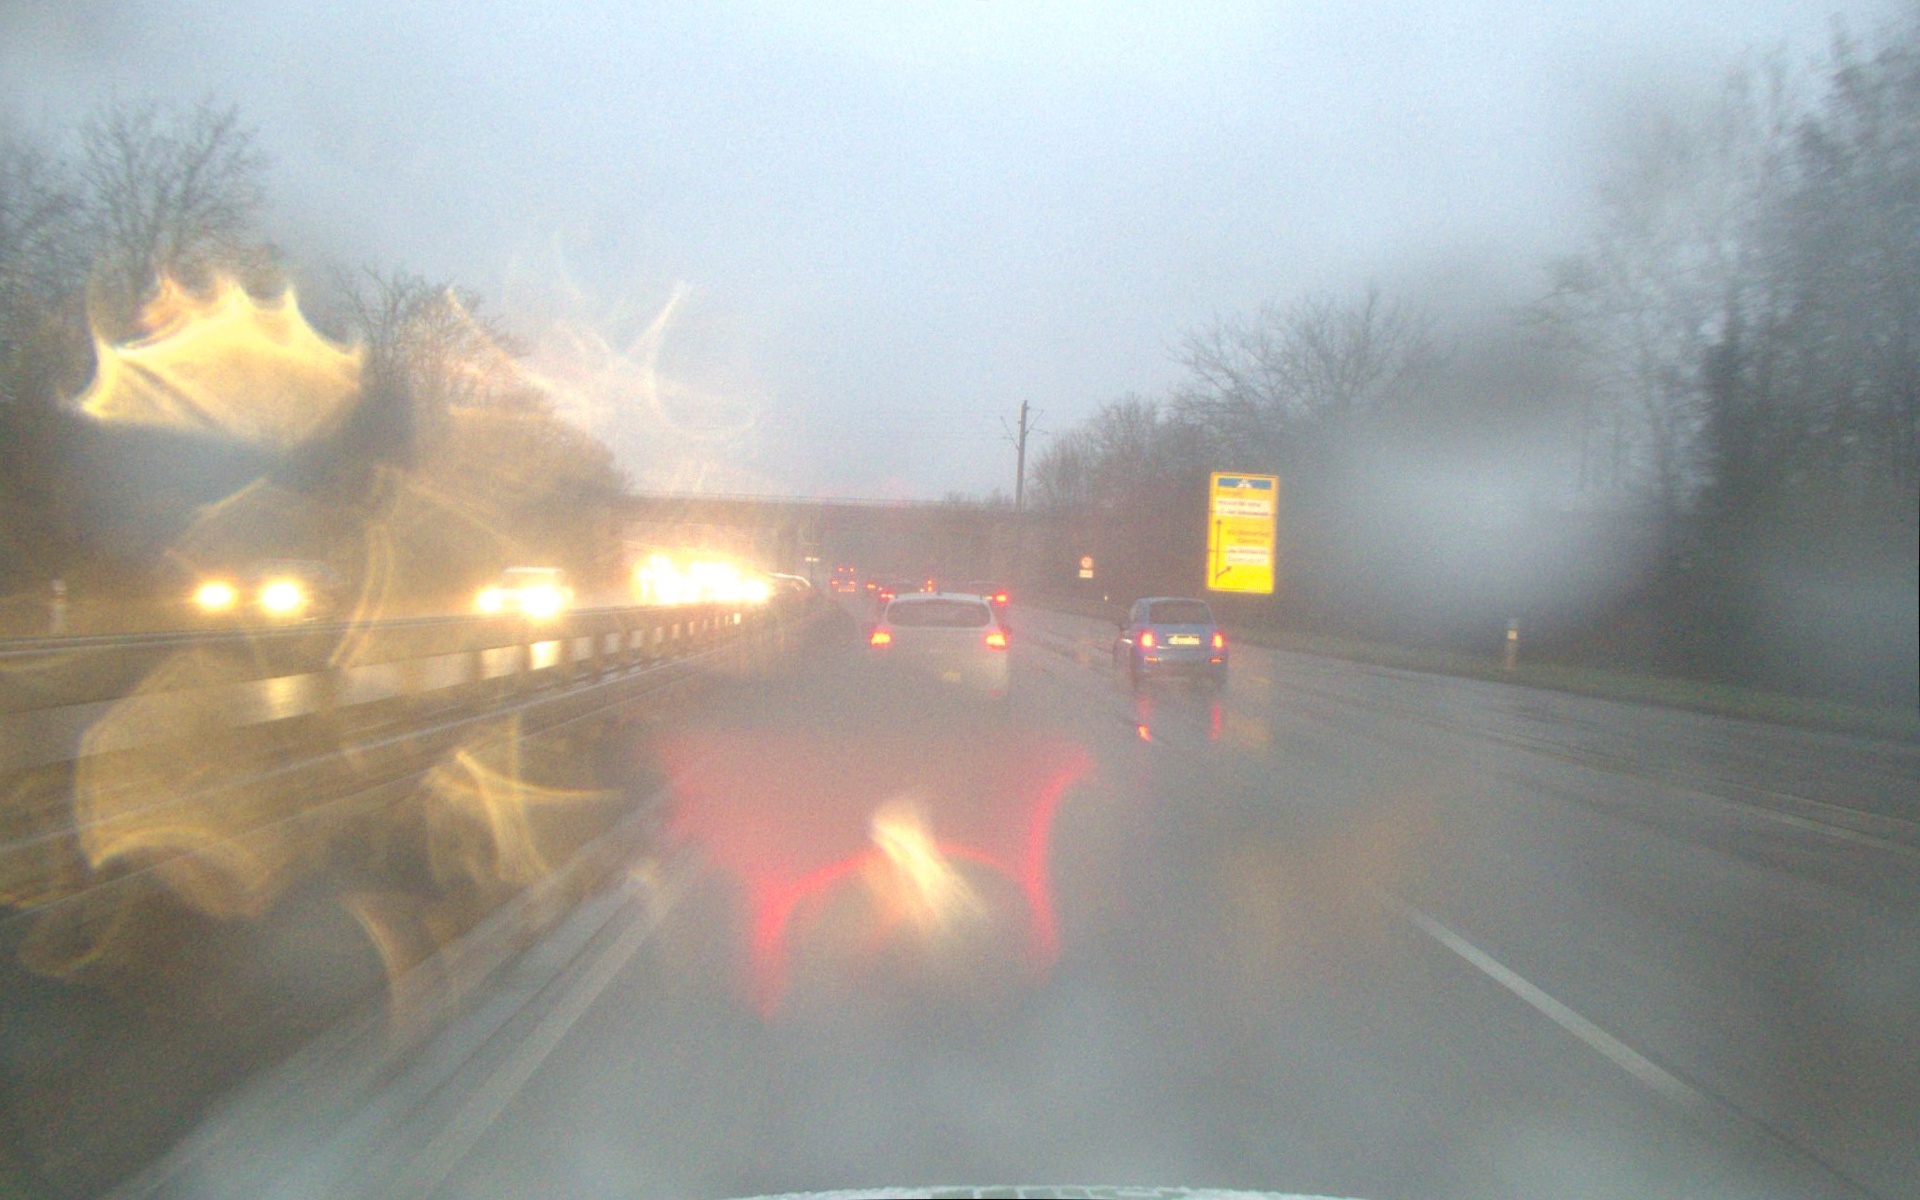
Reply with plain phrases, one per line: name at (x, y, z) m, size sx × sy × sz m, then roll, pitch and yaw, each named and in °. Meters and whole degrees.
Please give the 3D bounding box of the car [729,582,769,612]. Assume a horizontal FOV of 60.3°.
car at (-11.290, -0.175, 88.632) m, size 1.719 × 1.466 × 3.998 m, roll 2°, pitch 0°, yaw -2°

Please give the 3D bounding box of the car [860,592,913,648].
car at (-2.890, 0.774, 65.384) m, size 1.953 × 2.049 × 3.998 m, roll 2°, pitch 0°, yaw -2°

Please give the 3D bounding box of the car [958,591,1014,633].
car at (1.070, 0.526, 69.743) m, size 1.895 × 1.573 × 3.769 m, roll -4°, pitch -1°, yaw -5°

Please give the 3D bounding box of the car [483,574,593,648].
car at (-11.497, 0.293, 45.344) m, size 1.845 × 1.864 × 4.785 m, roll 2°, pitch 0°, yaw -2°

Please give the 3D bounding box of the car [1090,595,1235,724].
car at (3.495, 0.988, 29.188) m, size 1.894 × 2.054 × 3.772 m, roll 2°, pitch 0°, yaw -2°

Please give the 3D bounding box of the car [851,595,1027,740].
car at (-0.188, 0.785, 21.079) m, size 1.983 × 1.602 × 4.001 m, roll 2°, pitch 0°, yaw 1°

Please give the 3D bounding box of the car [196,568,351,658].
car at (-15.622, 0.269, 37.928) m, size 1.843 × 1.864 × 4.782 m, roll 2°, pitch 0°, yaw -5°
